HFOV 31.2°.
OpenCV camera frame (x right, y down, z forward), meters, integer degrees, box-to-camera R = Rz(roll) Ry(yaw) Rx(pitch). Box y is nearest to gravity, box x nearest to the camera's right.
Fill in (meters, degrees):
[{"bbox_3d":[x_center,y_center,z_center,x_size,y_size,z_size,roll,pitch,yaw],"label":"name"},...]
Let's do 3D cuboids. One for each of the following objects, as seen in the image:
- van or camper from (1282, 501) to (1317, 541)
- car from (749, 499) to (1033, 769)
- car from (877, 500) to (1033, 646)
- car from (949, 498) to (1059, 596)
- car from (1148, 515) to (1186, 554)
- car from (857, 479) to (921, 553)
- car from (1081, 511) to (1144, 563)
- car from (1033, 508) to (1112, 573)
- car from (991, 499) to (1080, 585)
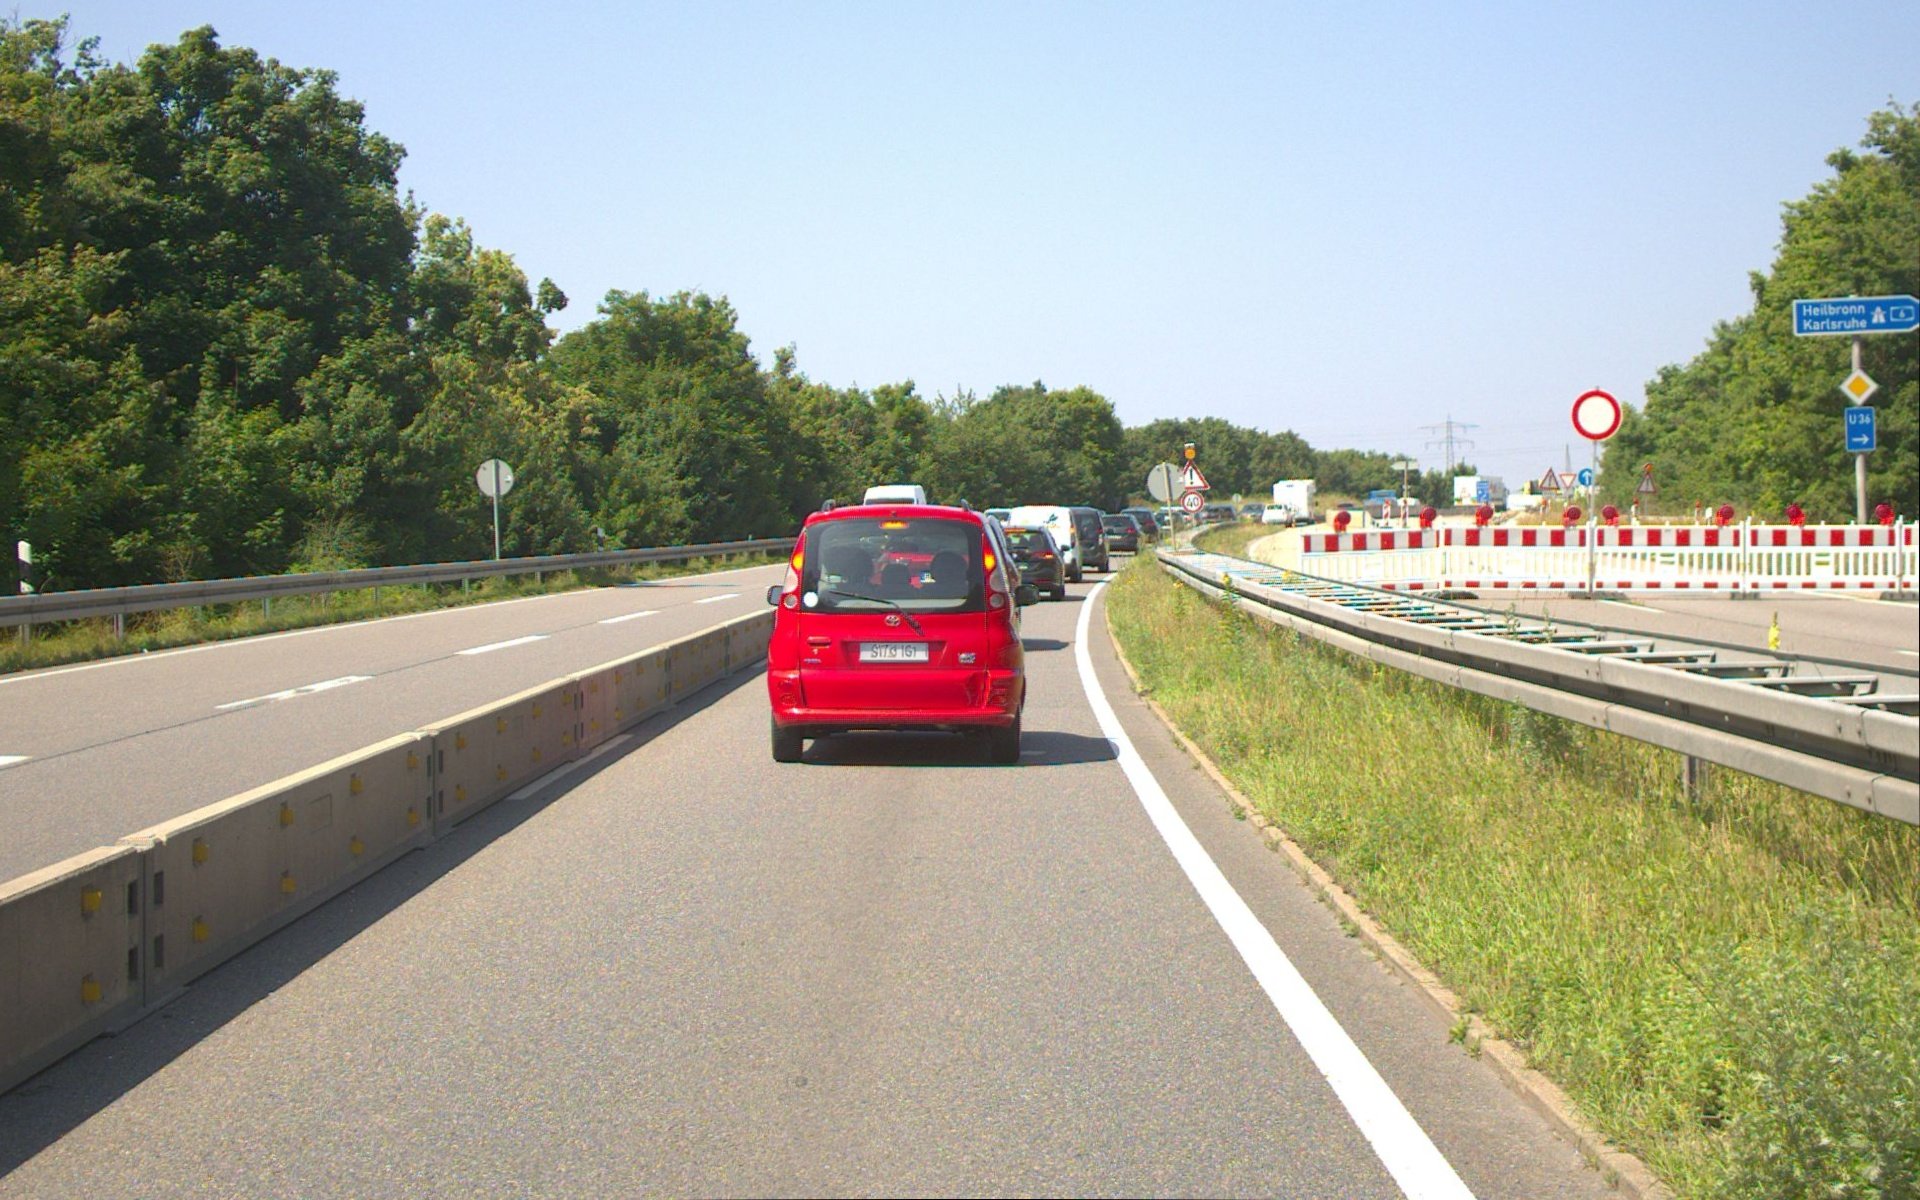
[{"bbox_3d":[23.465,-5.456,237.611,2.328,2.697,4.593,-1,1,5],"label":"van or camper"},{"bbox_3d":[-0.474,0.175,23.475,1.751,1.667,4.000,1,1,-1],"label":"car"},{"bbox_3d":[-0.041,-0.363,42.970,1.830,1.716,4.000,-1,1,0],"label":"car"},{"bbox_3d":[0.891,-1.041,67.003,1.994,1.831,4.000,-1,1,3],"label":"car"},{"bbox_3d":[9.404,-2.968,155.814,1.502,1.730,3.169,-1,1,7],"label":"car"},{"bbox_3d":[-2.418,-2.909,118.976,2.061,2.477,5.561,0,1,0],"label":"car"},{"bbox_3d":[5.386,-2.244,122.073,1.993,1.777,4.000,-1,1,-1],"label":"car"},{"bbox_3d":[3.096,-1.667,95.379,1.993,1.744,4.000,-1,1,-1],"label":"car"},{"bbox_3d":[1.788,-1.407,82.834,1.993,1.997,4.000,-1,1,-1],"label":"car"}]
